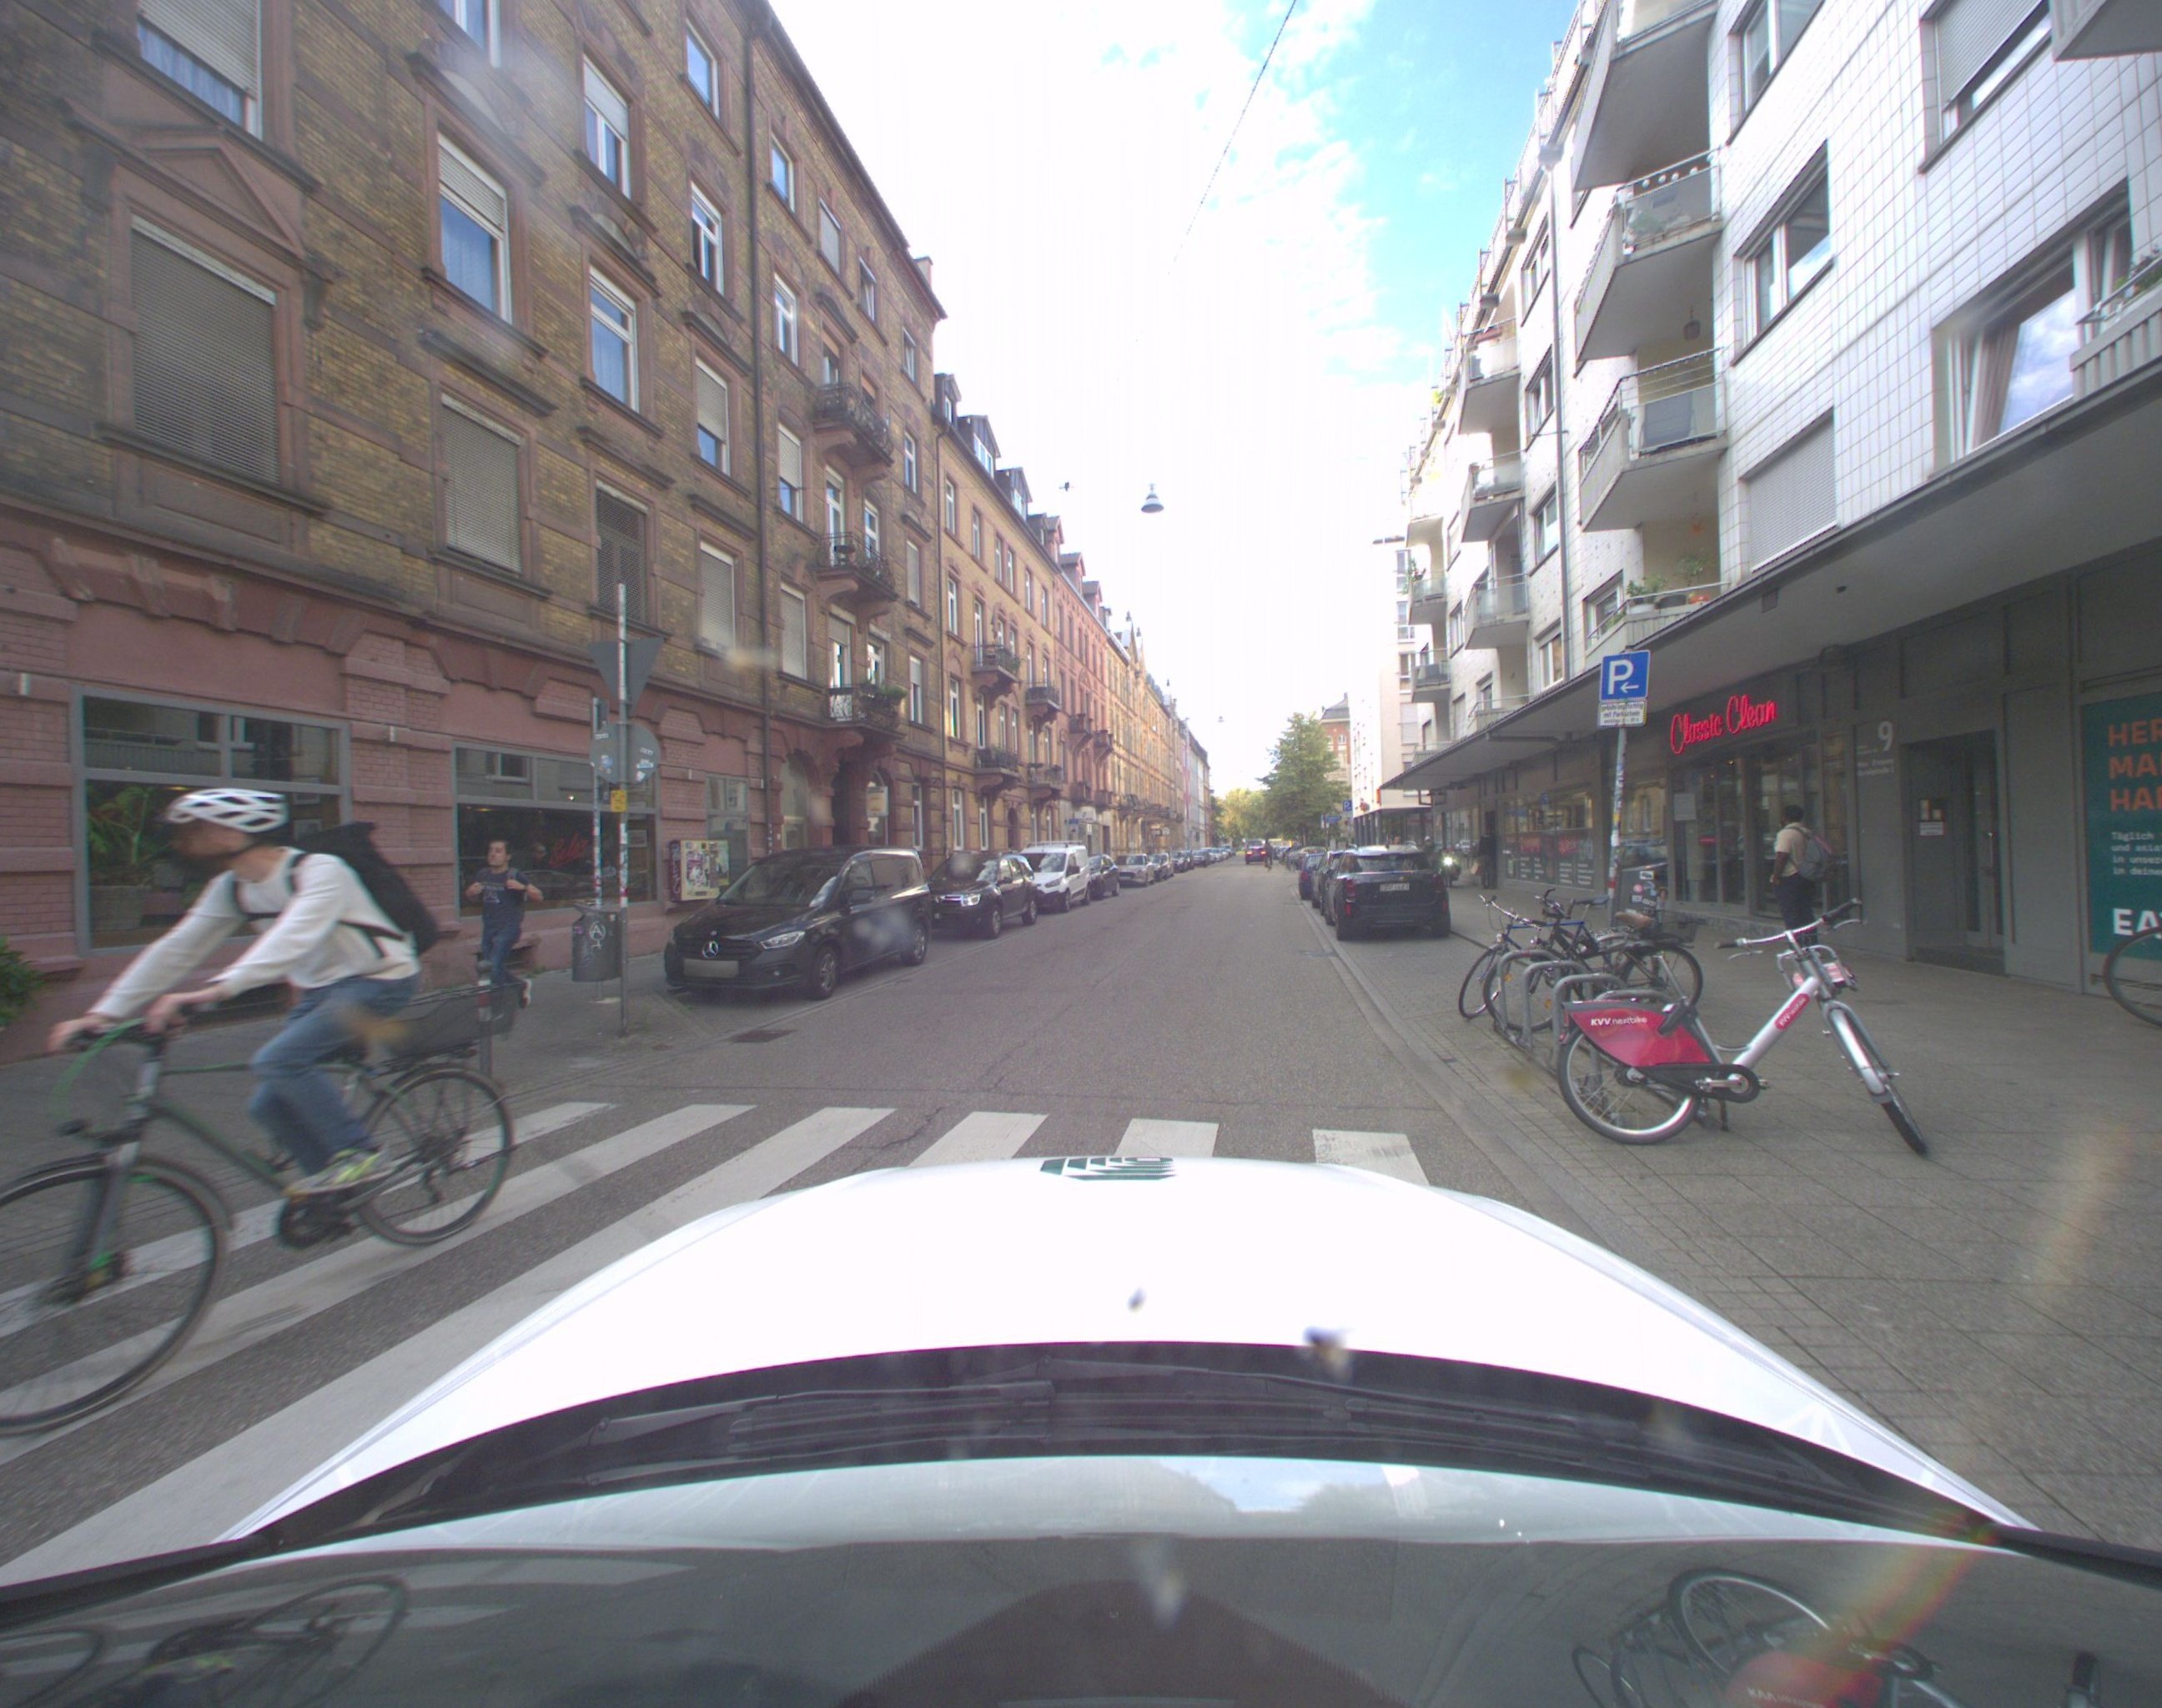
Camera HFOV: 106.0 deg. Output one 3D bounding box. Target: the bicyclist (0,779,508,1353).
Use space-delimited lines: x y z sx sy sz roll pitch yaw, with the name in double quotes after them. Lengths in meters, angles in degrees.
-2.885 0.643 2.979 0.697 1.678 1.114 -2 -2 6 "bicyclist"

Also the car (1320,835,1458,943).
5.454 0.535 14.901 1.780 1.605 3.939 -4 0 13 "car"

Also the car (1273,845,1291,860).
23.455 -0.226 95.107 1.917 1.638 4.015 -1 1 13 "car"

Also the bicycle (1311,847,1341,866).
16.362 0.166 54.368 1.777 1.159 0.503 -4 0 39 "bicycle"

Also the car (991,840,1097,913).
-0.921 0.552 23.152 1.907 1.871 4.452 -1 1 12 "car"

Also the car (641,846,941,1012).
-3.544 0.782 10.999 1.748 1.773 4.420 0 0 12 "car"

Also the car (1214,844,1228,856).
18.938 -0.587 109.764 1.679 1.550 3.880 0 0 12 "car"

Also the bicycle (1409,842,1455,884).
11.716 0.287 27.269 0.912 1.291 2.508 -4 0 13 "bicycle"

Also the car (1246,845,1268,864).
16.221 0.063 74.959 1.951 1.741 4.056 -1 -1 13 "car"

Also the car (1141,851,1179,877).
4.573 0.554 46.724 1.678 1.386 3.881 0 0 13 "car"

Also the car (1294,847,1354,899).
7.629 0.556 25.855 1.584 1.439 4.046 -3 0 14 "car"

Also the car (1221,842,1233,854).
22.574 -0.995 125.780 1.679 1.821 3.880 0 0 12 "car"

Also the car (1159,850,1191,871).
6.369 0.421 54.773 1.678 1.386 3.881 0 0 13 "car"

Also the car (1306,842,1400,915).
6.606 0.545 20.105 1.677 1.577 3.915 -3 0 11 "car"

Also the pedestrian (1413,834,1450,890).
10.317 0.224 23.984 0.818 1.588 0.784 -2 0 14 "pedestrian"

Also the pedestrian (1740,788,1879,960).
7.899 0.211 8.876 0.709 1.746 0.819 -4 0 11 "pedestrian"

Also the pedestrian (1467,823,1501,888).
11.691 0.038 23.623 0.700 1.860 0.649 -2 0 42 "pedestrian"

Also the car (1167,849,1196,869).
7.518 0.326 60.687 1.678 1.437 3.881 0 0 13 "car"

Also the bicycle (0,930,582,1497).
-2.876 0.970 2.908 0.697 1.220 2.120 -3 -2 6 "bicycle"

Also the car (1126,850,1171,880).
3.532 0.536 41.972 1.730 1.483 3.997 0 0 13 "car"

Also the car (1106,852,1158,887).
2.385 0.652 37.136 1.730 1.483 3.997 0 0 13 "car"

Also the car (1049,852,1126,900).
0.309 0.705 28.184 1.729 1.483 3.999 0 0 15 "car"

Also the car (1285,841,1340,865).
17.726 -0.048 62.458 3.745 1.546 1.732 -4 -1 2 "car"

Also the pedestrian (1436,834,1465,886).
11.610 0.182 25.603 0.639 1.588 0.784 -4 -1 14 "pedestrian"

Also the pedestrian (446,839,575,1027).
-5.895 0.763 8.458 0.672 1.840 0.860 0 1 11 "pedestrian"

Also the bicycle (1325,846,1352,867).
15.726 0.147 49.824 1.485 1.146 0.413 -4 0 13 "bicycle"

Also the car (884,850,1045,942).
-2.251 0.776 16.998 1.980 1.638 4.159 -1 0 12 "car"

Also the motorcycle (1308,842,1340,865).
17.927 -0.061 60.116 2.133 1.530 0.689 -4 0 17 "motorcycle"

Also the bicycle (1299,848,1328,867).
15.461 0.232 54.150 1.781 1.159 0.502 -4 0 15 "bicycle"

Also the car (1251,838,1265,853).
23.688 -1.123 109.095 1.770 2.019 3.901 -1 1 12 "car"

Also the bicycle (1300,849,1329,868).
15.055 0.259 52.515 1.752 1.099 0.413 -4 0 15 "bicycle"

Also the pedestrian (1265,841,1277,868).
11.587 0.035 49.705 0.713 1.650 0.934 -1 1 14 "pedestrian"

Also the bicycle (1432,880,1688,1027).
4.051 0.826 6.972 1.780 1.070 0.587 -4 0 2 "bicycle"

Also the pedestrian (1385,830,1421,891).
9.500 0.180 24.066 0.608 1.726 1.129 -4 0 7 "pedestrian"

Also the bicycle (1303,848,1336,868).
14.258 0.257 48.684 1.756 1.057 0.412 -4 0 7 "bicycle"

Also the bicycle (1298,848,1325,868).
14.175 0.250 50.107 1.487 1.146 0.412 -4 0 7 "bicycle"

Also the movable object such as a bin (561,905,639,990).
-4.387 0.841 7.448 0.380 0.714 0.477 -1 1 8 "movable object such as a bin"

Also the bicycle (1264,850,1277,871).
11.559 0.378 49.561 0.713 1.274 1.891 -1 1 14 "bicycle"

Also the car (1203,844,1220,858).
15.219 -0.334 94.885 1.679 1.550 3.880 0 0 12 "car"

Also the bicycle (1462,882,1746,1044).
4.032 0.825 6.364 1.780 1.070 0.569 -4 0 2 "bicycle"

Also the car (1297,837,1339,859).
24.007 -0.604 82.490 3.956 1.683 1.746 -4 8 17 "car"

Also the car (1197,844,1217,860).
12.842 -0.197 82.952 1.678 1.550 3.881 0 1 13 "car"

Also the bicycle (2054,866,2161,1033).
7.171 0.616 4.878 0.736 1.015 1.789 -4 0 12 "bicycle"

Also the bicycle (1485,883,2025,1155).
3.243 0.799 4.167 1.870 1.125 0.910 -4 0 10 "bicycle"

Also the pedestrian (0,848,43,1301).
-4.590 0.833 2.890 1.011 1.671 0.808 -2 -1 19 "pedestrian"

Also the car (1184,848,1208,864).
10.006 0.153 70.704 1.678 1.369 3.881 2 1 13 "car"

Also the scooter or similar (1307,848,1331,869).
14.010 0.269 47.976 1.194 1.147 0.381 -4 1 44 "scooter or similar"
